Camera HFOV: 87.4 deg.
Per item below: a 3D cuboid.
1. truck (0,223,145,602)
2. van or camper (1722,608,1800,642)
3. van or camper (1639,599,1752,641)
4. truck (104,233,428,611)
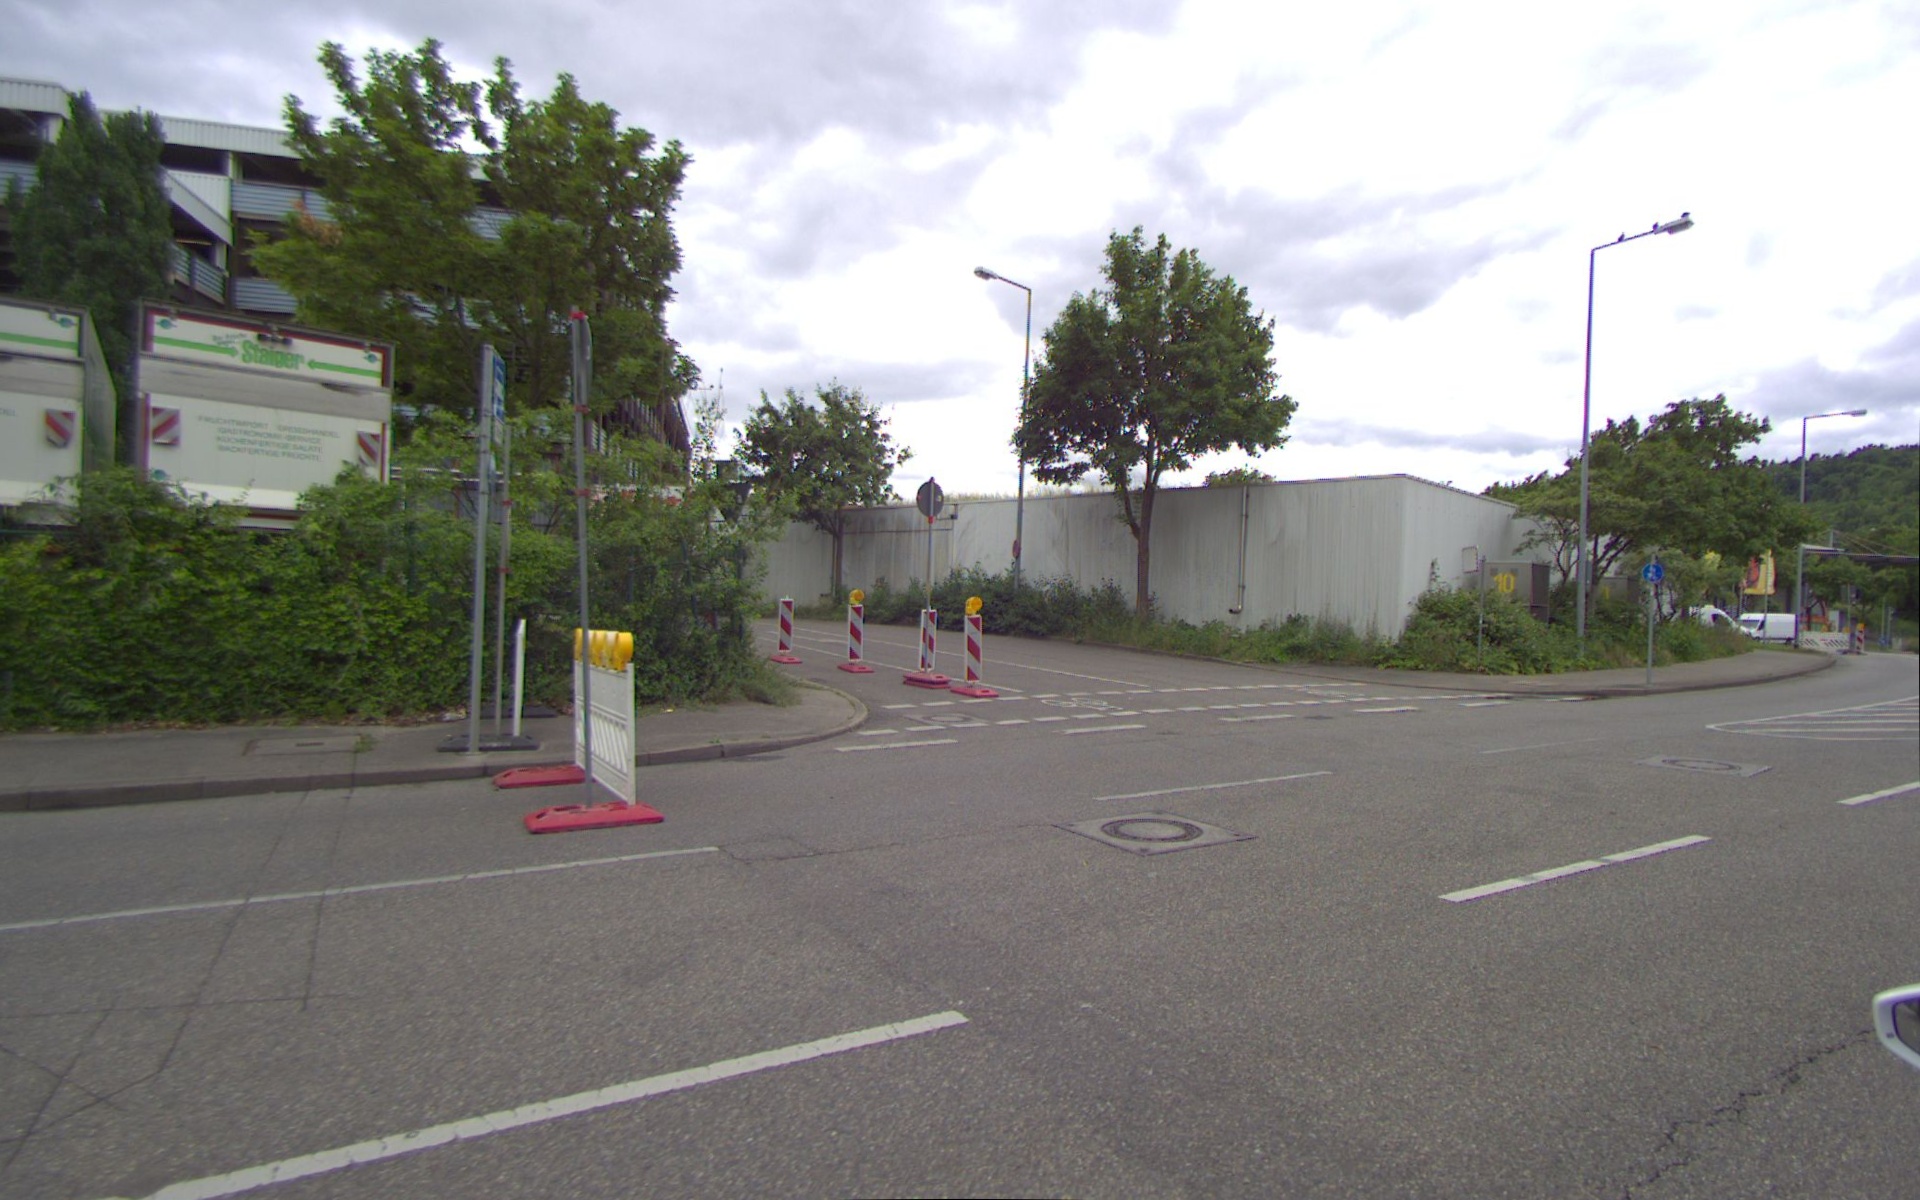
[{"bbox_3d":[-13.221,-2.175,13.568,3.025,4.044,7.781,3,0,-37],"label":"truck"},{"bbox_3d":[64.133,1.985,80.411,6.562,2.357,2.003,3,0,-24],"label":"van or camper"},{"bbox_3d":[50.146,1.334,68.564,5.915,2.276,2.384,6,2,41],"label":"van or camper"},{"bbox_3d":[-10.868,-2.079,15.823,3.023,4.044,9.554,3,0,-36],"label":"truck"}]
